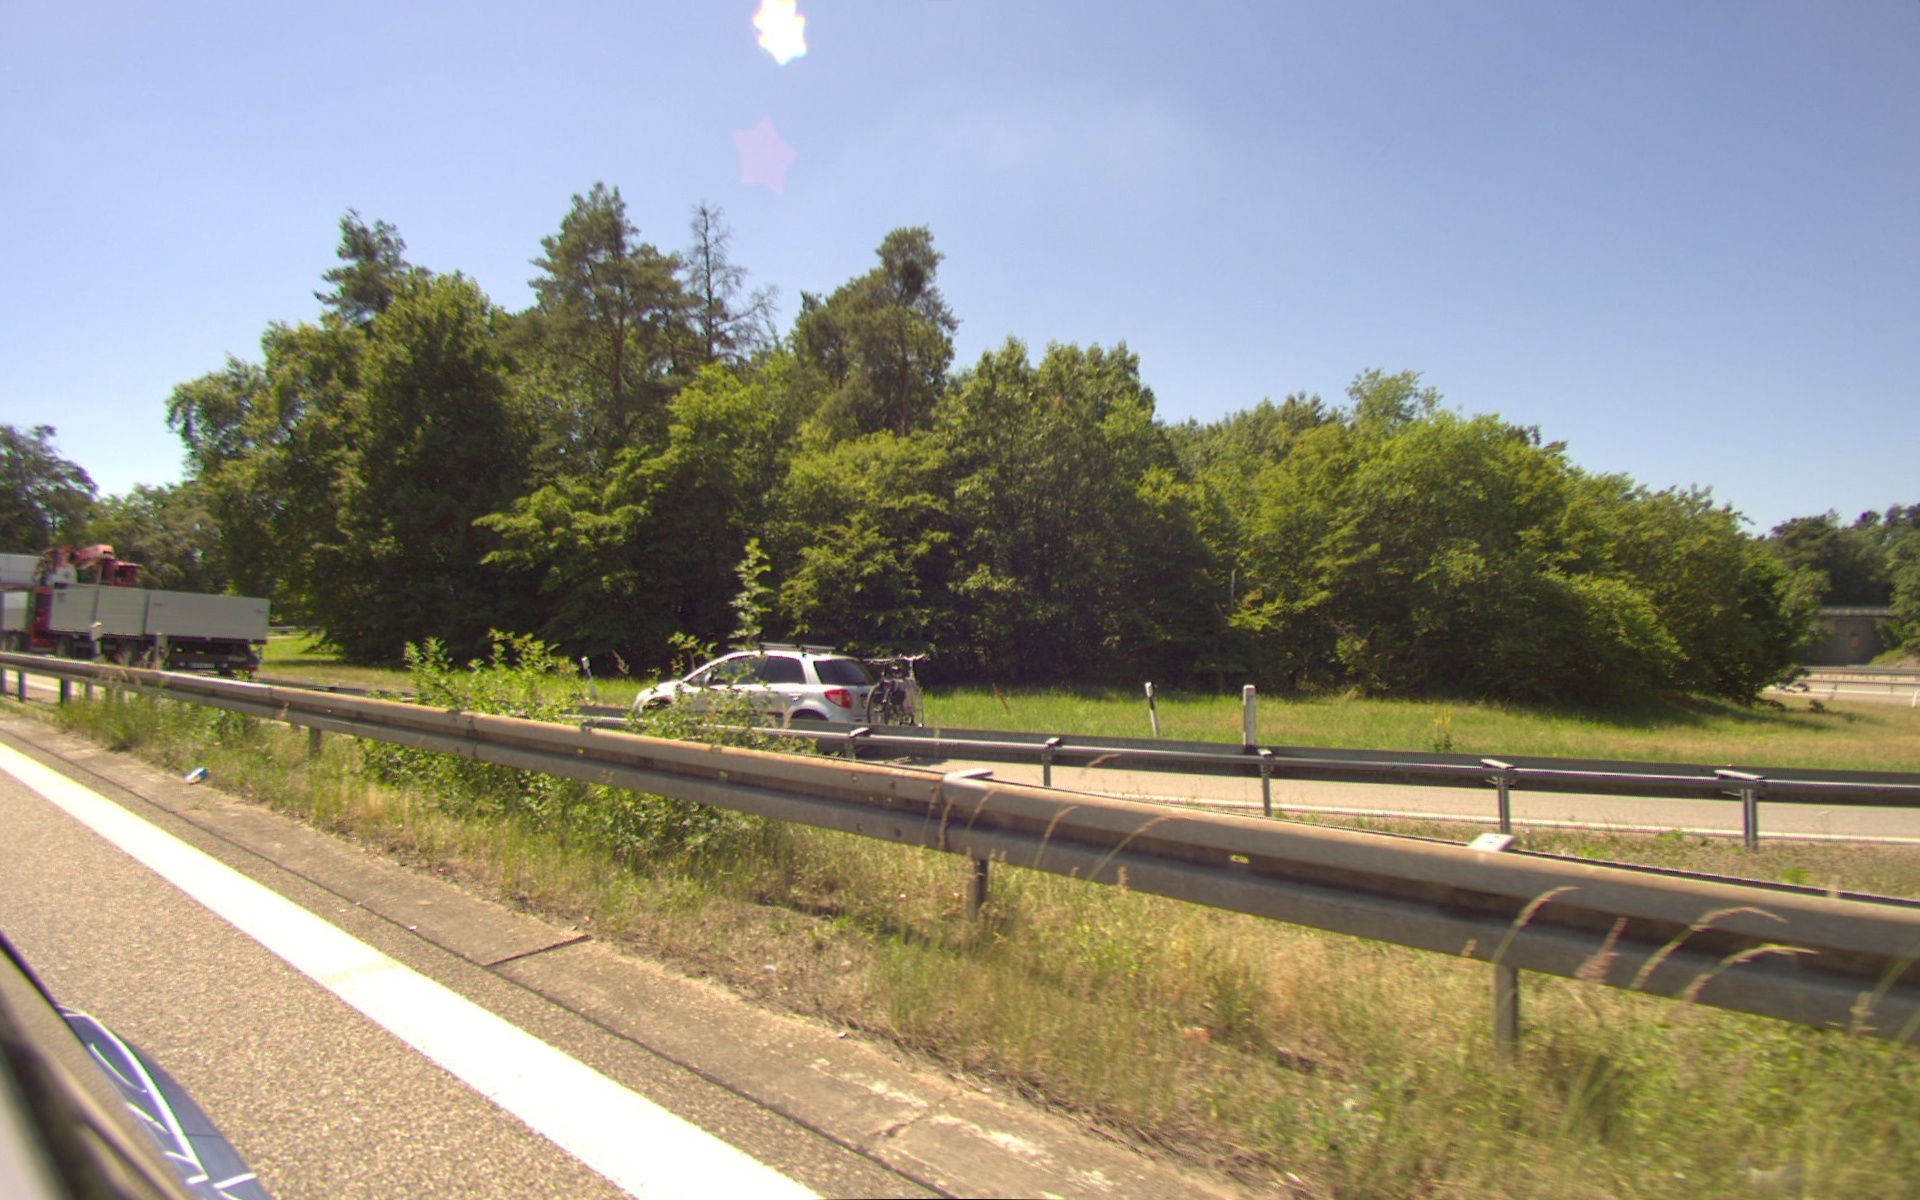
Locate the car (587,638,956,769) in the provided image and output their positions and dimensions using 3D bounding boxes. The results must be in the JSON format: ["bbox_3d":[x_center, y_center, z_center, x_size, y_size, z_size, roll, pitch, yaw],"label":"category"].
[{"bbox_3d":[-2.858,1.492,15.499,5.229,1.653,1.988,1,-3,19],"label":"car"}]
